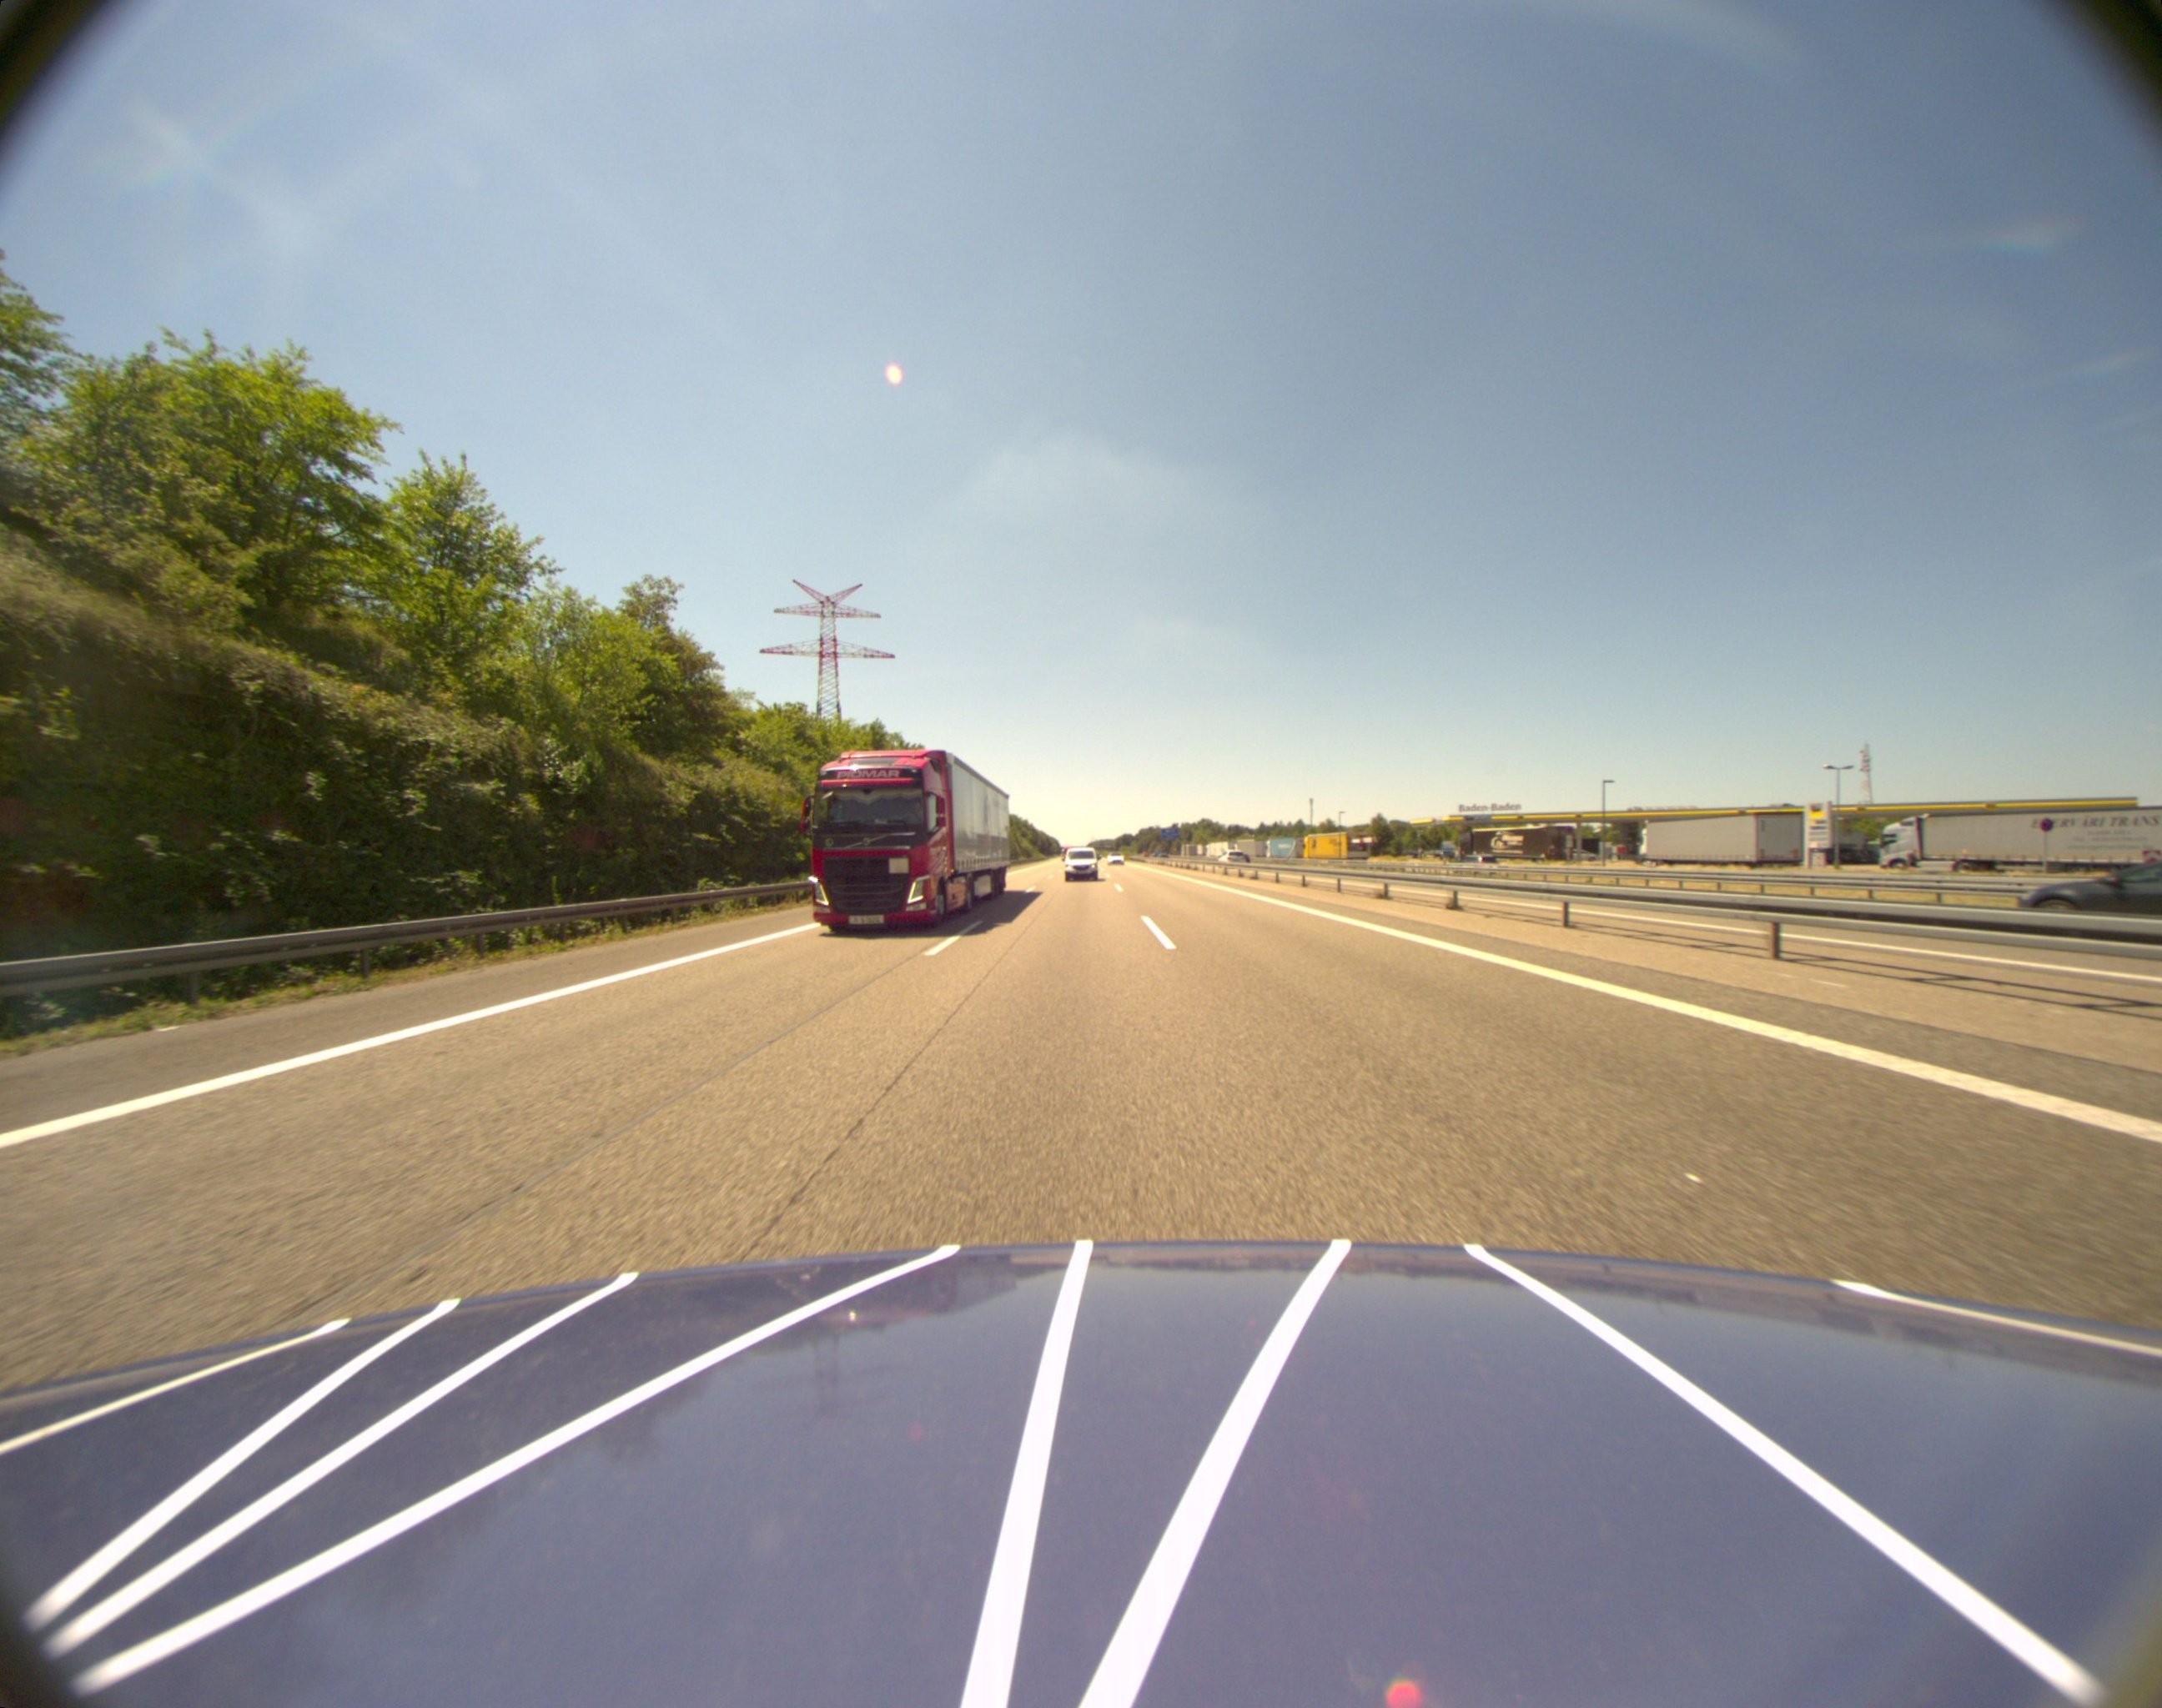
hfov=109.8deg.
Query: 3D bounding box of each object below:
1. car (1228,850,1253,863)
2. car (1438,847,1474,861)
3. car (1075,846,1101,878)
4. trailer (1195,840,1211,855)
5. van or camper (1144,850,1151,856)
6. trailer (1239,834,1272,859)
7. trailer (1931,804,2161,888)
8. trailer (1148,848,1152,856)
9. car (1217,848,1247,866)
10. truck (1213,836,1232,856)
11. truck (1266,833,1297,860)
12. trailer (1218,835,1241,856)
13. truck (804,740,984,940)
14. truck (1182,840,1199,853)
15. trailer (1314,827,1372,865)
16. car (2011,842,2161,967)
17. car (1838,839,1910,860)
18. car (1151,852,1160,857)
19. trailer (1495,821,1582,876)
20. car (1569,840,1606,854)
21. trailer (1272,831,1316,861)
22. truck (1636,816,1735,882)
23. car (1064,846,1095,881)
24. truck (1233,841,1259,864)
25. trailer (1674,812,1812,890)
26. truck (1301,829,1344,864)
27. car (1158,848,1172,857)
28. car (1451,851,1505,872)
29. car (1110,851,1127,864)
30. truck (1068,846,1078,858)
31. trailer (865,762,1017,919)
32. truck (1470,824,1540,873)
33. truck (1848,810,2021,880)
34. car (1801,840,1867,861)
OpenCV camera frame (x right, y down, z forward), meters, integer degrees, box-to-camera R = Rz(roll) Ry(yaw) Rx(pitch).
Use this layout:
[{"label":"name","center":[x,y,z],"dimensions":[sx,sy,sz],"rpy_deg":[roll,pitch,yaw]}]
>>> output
[{"label":"car","center":[17.617,0.254,84.126],"dimensions":[1.873,1.390,4.545],"rpy_deg":[1,0,0]},{"label":"car","center":[60.403,0.049,122.386],"dimensions":[4.868,1.976,1.954],"rpy_deg":[-2,1,32]},{"label":"car","center":[0.391,0.435,45.177],"dimensions":[1.413,1.795,3.200],"rpy_deg":[-3,1,0]},{"label":"trailer","center":[37.408,-1.995,233.438],"dimensions":[3.102,4.132,12.009],"rpy_deg":[-3,0,0]},{"label":"van or camper","center":[22.426,-0.442,255.052],"dimensions":[1.901,1.828,4.746],"rpy_deg":[-1,0,0]},{"label":"trailer","center":[31.352,-1.344,137.367],"dimensions":[3.121,4.134,11.013],"rpy_deg":[-3,0,-1]},{"label":"trailer","center":[57.704,-0.521,43.735],"dimensions":[3.309,4.332,12.921],"rpy_deg":[-3,0,2]},{"label":"trailer","center":[22.473,-0.635,248.890],"dimensions":[1.170,2.355,1.998],"rpy_deg":[-1,1,0]},{"label":"car","center":[12.954,0.223,65.478],"dimensions":[1.722,1.521,4.666],"rpy_deg":[1,1,0]},{"label":"truck","center":[30.982,-1.757,166.457],"dimensions":[2.588,4.164,7.935],"rpy_deg":[-2,1,0]},{"label":"truck","center":[31.259,-1.156,118.762],"dimensions":[2.857,4.049,7.088],"rpy_deg":[-3,1,-1]},{"label":"trailer","center":[30.996,-1.696,159.179],"dimensions":[2.605,4.194,10.513],"rpy_deg":[-3,0,0]},{"label":"truck","center":[-4.171,-0.308,18.650],"dimensions":[2.505,3.897,7.096],"rpy_deg":[-2,1,0]},{"label":"truck","center":[32.623,-2.157,226.695],"dimensions":[2.806,3.622,13.604],"rpy_deg":[-3,0,0]},{"label":"trailer","center":[31.237,-0.904,91.194],"dimensions":[2.840,4.195,11.081],"rpy_deg":[-3,0,-1]},{"label":"car","center":[17.263,0.759,10.752],"dimensions":[1.958,1.799,5.046],"rpy_deg":[-3,0,-1]},{"label":"car","center":[77.983,-0.456,74.859],"dimensions":[1.817,1.976,4.992],"rpy_deg":[-3,0,0]},{"label":"car","center":[18.458,0.056,189.014],"dimensions":[1.746,1.269,4.318],"rpy_deg":[2,1,1]},{"label":"trailer","center":[44.374,-0.537,74.107],"dimensions":[3.040,4.822,9.134],"rpy_deg":[-3,1,2]},{"label":"car","center":[79.630,-1.092,119.554],"dimensions":[4.591,1.976,1.953],"rpy_deg":[-2,1,29]},{"label":"trailer","center":[31.359,-1.155,112.632],"dimensions":[2.840,4.124,12.082],"rpy_deg":[-3,0,-1]},{"label":"truck","center":[47.725,-0.412,60.340],"dimensions":[3.306,4.822,7.633],"rpy_deg":[-2,1,15]},{"label":"car","center":[-0.082,0.499,41.664],"dimensions":[1.501,1.799,3.393],"rpy_deg":[-3,1,0]},{"label":"truck","center":[31.286,-0.351,144.345],"dimensions":[3.125,4.134,7.503],"rpy_deg":[-3,1,-1]},{"label":"trailer","center":[45.623,-0.272,52.882],"dimensions":[3.306,4.846,9.692],"rpy_deg":[-2,1,15]},{"label":"truck","center":[31.226,-0.944,98.724],"dimensions":[2.840,4.176,7.917],"rpy_deg":[-3,1,0]},{"label":"car","center":[15.915,-0.279,144.008],"dimensions":[1.977,1.637,5.016],"rpy_deg":[-3,0,0]},{"label":"car","center":[31.391,0.581,60.242],"dimensions":[1.817,1.480,4.508],"rpy_deg":[-3,0,0]},{"label":"car","center":[4.344,0.415,88.132],"dimensions":[1.775,1.410,3.401],"rpy_deg":[-3,0,1]},{"label":"truck","center":[-2.443,-0.575,231.499],"dimensions":[2.540,3.656,5.219],"rpy_deg":[-3,1,1]},{"label":"trailer","center":[-4.143,-0.392,26.372],"dimensions":[2.497,3.887,14.244],"rpy_deg":[-2,0,0]},{"label":"truck","center":[44.587,-0.590,80.216],"dimensions":[3.033,4.822,7.878],"rpy_deg":[-3,1,2]},{"label":"truck","center":[58.036,-0.596,52.037],"dimensions":[3.309,4.332,7.625],"rpy_deg":[-3,1,2]},{"label":"car","center":[74.660,-0.364,75.464],"dimensions":[1.817,1.976,4.782],"rpy_deg":[-3,0,0]}]
